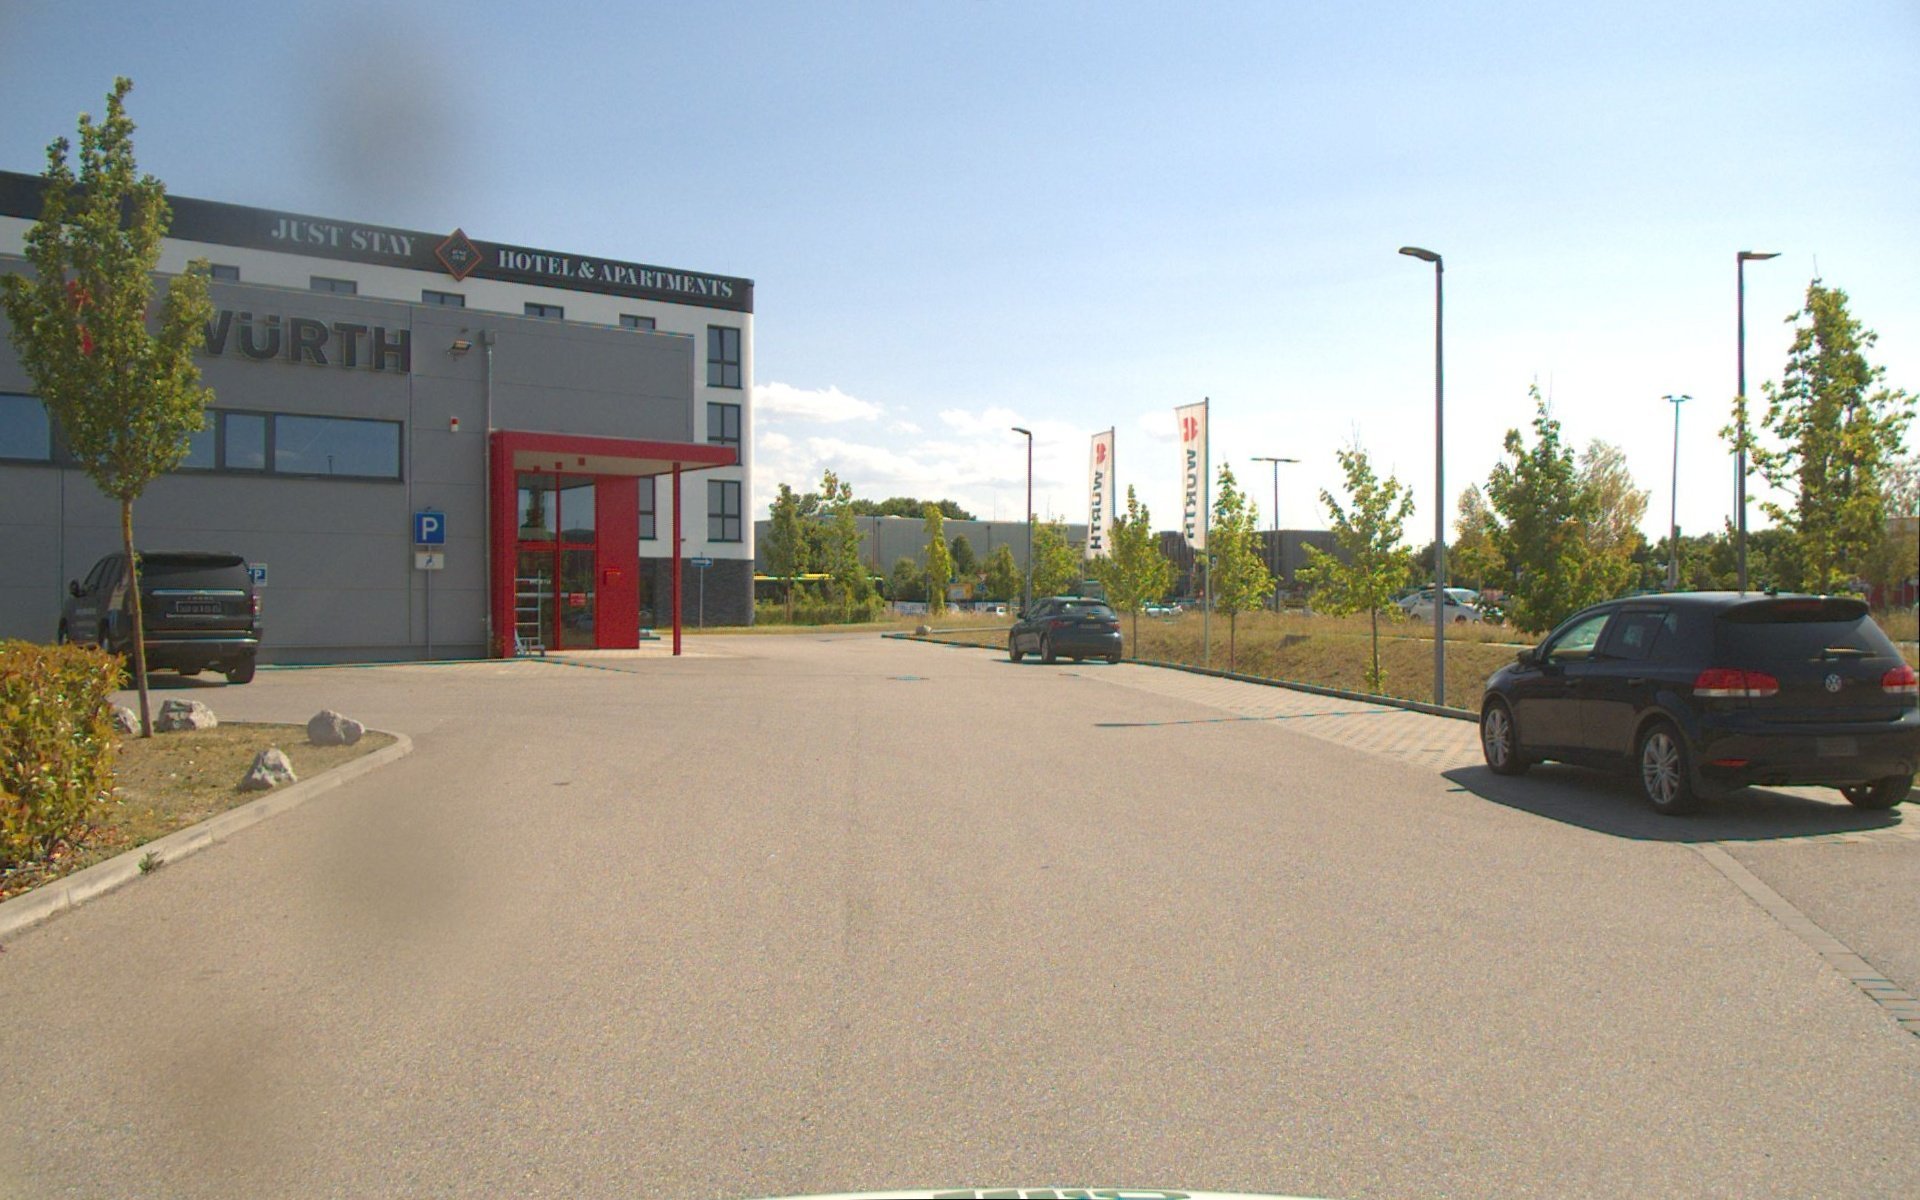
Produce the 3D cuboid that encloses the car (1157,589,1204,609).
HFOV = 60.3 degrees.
[{"bbox_3d":[19.630,-0.093,147.117,3.915,1.687,1.882,0,1,-36],"label":"car"}]

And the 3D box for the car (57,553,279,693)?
[{"bbox_3d":[-12.173,0.277,25.243,2.057,1.913,4.811,0,1,-38],"label":"car"}]

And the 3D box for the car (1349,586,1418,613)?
[{"bbox_3d":[22.870,-0.058,89.310,3.669,1.420,1.572,-1,0,-33],"label":"car"}]

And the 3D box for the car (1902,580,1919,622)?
[{"bbox_3d":[39.226,0.037,64.914,3.590,1.646,1.837,0,1,-10],"label":"car"}]

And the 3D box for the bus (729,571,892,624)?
[{"bbox_3d":[-10.353,-0.202,115.109,11.048,3.619,2.560,0,1,-20],"label":"bus"}]

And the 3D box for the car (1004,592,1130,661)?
[{"bbox_3d":[2.304,0.551,36.719,1.670,1.431,3.882,1,0,-15],"label":"car"}]

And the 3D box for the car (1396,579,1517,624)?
[{"bbox_3d":[17.280,0.014,57.736,1.850,1.509,3.966,0,1,-26],"label":"car"}]

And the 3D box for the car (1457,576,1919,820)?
[{"bbox_3d":[5.542,0.601,12.622,1.801,1.502,4.113,-2,1,-8],"label":"car"}]

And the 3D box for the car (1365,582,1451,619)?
[{"bbox_3d":[20.386,0.011,75.285,3.613,1.625,1.699,0,1,-28],"label":"car"}]
